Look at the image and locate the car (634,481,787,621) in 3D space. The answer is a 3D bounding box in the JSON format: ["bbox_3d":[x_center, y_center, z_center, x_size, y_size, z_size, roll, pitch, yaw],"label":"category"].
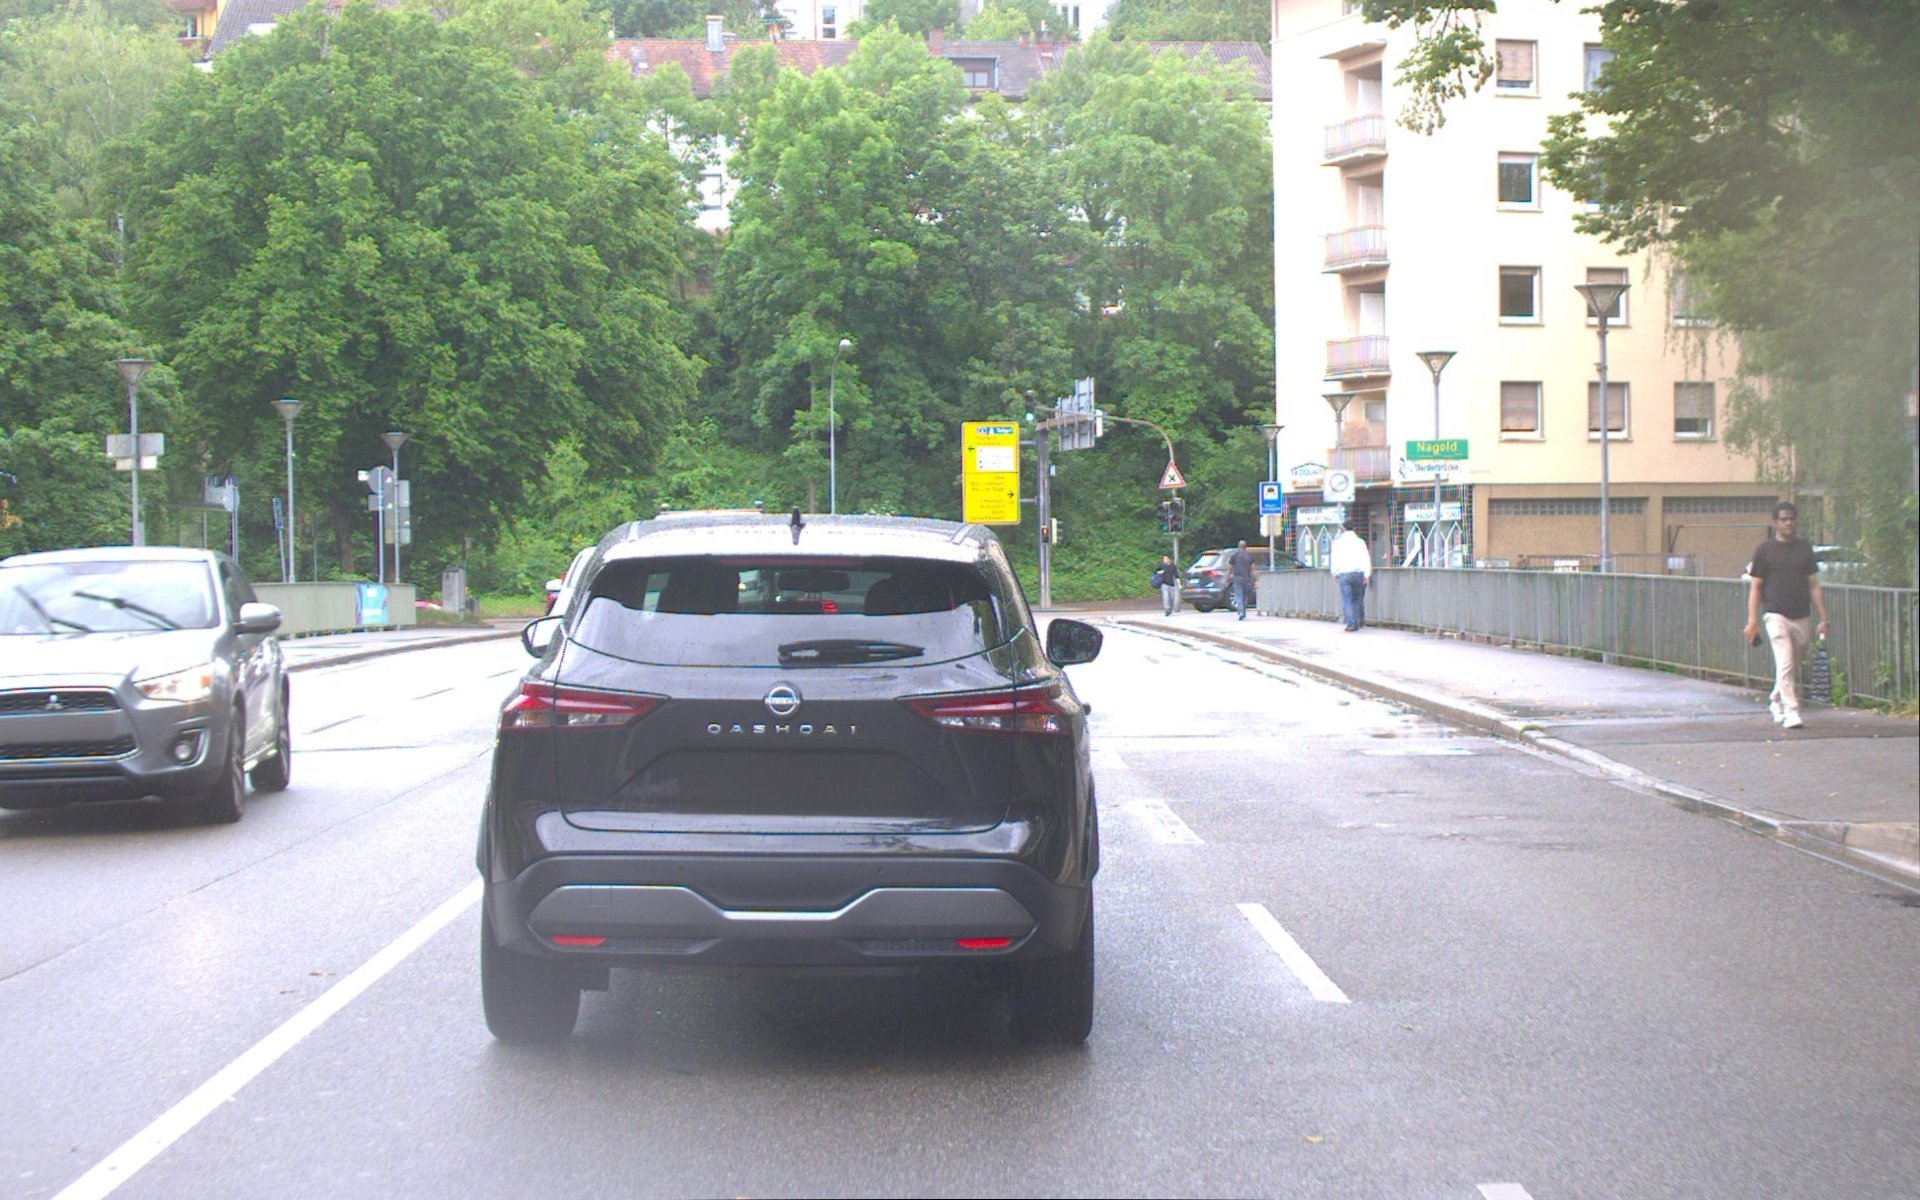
[{"bbox_3d":[-4.370,-0.909,61.150,2.289,2.300,6.510,-2,1,-1],"label":"car"}]

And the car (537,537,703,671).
[{"bbox_3d":[-4.089,0.009,41.873,1.781,1.469,4.167,-2,1,-3],"label":"car"}]

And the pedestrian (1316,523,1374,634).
[{"bbox_3d":[6.174,-0.348,55.160,0.779,1.746,1.061,-1,0,-1],"label":"pedestrian"}]

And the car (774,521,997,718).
[{"bbox_3d":[-0.634,0.126,30.298,1.811,1.597,4.000,1,1,-1],"label":"car"}]

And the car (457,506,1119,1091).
[{"bbox_3d":[-0.499,0.512,11.481,1.811,1.597,4.000,1,1,-1],"label":"car"}]

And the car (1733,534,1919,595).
[{"bbox_3d":[21.786,-0.908,86.001,4.438,1.371,1.818,-1,3,-17],"label":"car"}]

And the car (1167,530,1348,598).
[{"bbox_3d":[7.873,-0.950,90.854,4.366,1.643,1.884,-2,0,-26],"label":"car"}]

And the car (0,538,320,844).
[{"bbox_3d":[-5.036,0.461,20.477,1.813,1.573,4.232,-2,1,-3],"label":"car"}]

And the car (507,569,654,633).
[{"bbox_3d":[-10.876,0.030,98.354,1.890,1.729,4.368,-2,1,-43],"label":"car"}]

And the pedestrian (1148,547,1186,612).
[{"bbox_3d":[5.309,-0.524,88.153,0.862,1.613,0.839,-2,0,0],"label":"pedestrian"}]

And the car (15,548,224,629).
[{"bbox_3d":[-20.262,-0.298,83.095,4.741,1.848,2.001,0,2,-9],"label":"car"}]

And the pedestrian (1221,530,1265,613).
[{"bbox_3d":[5.813,-0.586,70.654,0.761,1.671,0.781,-2,1,0],"label":"pedestrian"}]

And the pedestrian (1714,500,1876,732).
[{"bbox_3d":[6.297,0.114,25.979,0.847,1.670,1.168,-3,0,-1],"label":"pedestrian"}]
